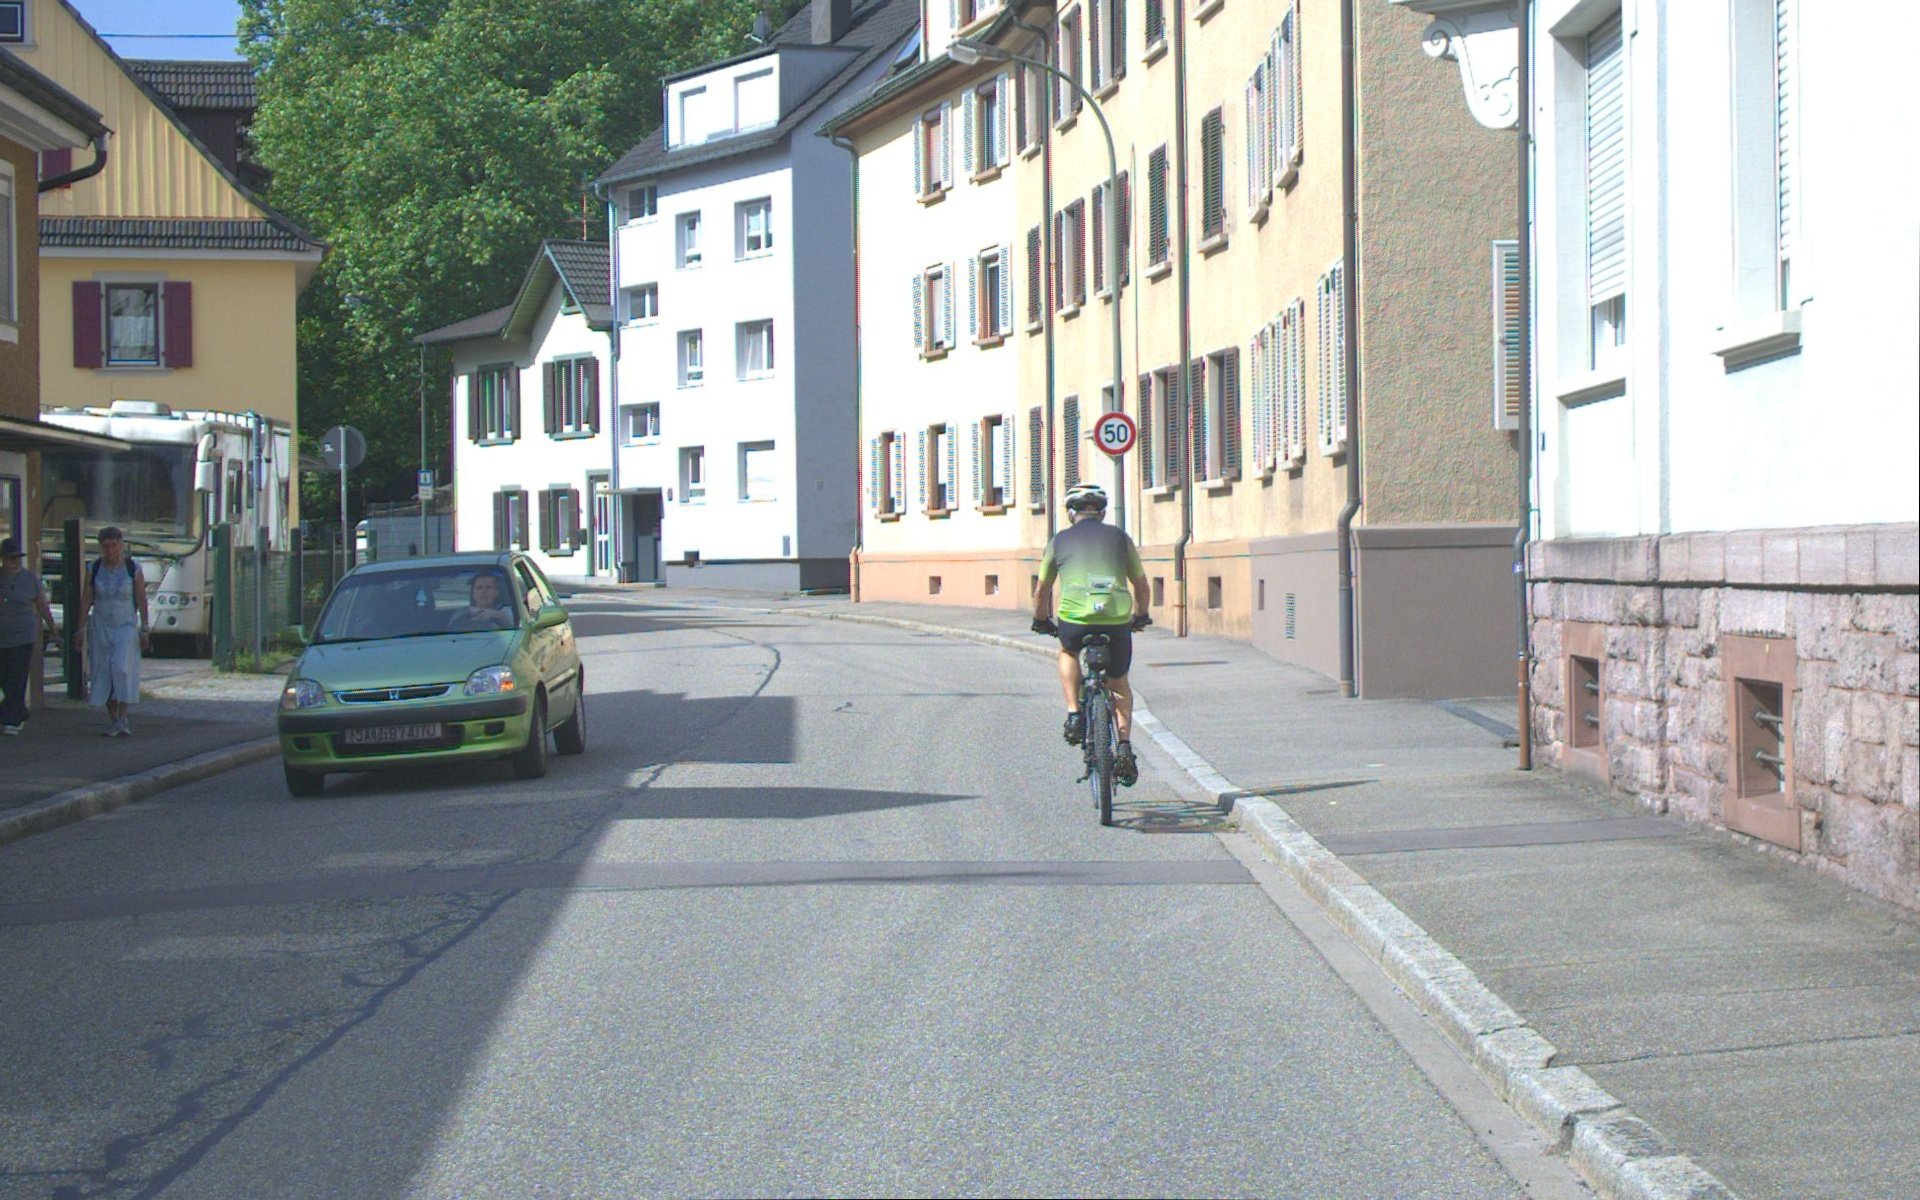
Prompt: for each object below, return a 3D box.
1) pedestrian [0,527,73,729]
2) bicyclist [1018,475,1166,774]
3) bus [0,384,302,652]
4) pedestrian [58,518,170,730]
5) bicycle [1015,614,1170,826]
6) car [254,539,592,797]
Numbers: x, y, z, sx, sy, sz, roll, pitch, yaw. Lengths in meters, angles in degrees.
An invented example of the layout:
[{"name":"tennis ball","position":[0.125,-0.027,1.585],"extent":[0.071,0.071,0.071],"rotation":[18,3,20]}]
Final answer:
[{"name":"pedestrian","position":[-7.519,0.207,27.205],"extent":[0.735,1.559,0.824],"rotation":[2,1,-1]},{"name":"bicyclist","position":[0.688,0.120,18.119],"extent":[0.685,1.526,0.716],"rotation":[-1,1,-3]},{"name":"bus","position":[-10.822,-1.084,46.163],"extent":[2.820,3.217,9.037],"rotation":[1,1,-4]},{"name":"pedestrian","position":[-6.684,0.180,27.183],"extent":[0.639,1.621,0.777],"rotation":[2,1,-1]},{"name":"bicycle","position":[0.688,0.612,18.219],"extent":[0.698,1.032,1.471],"rotation":[0,1,-3]},{"name":"car","position":[-3.452,0.378,22.678],"extent":[1.596,1.459,3.660],"rotation":[-4,1,0]}]
